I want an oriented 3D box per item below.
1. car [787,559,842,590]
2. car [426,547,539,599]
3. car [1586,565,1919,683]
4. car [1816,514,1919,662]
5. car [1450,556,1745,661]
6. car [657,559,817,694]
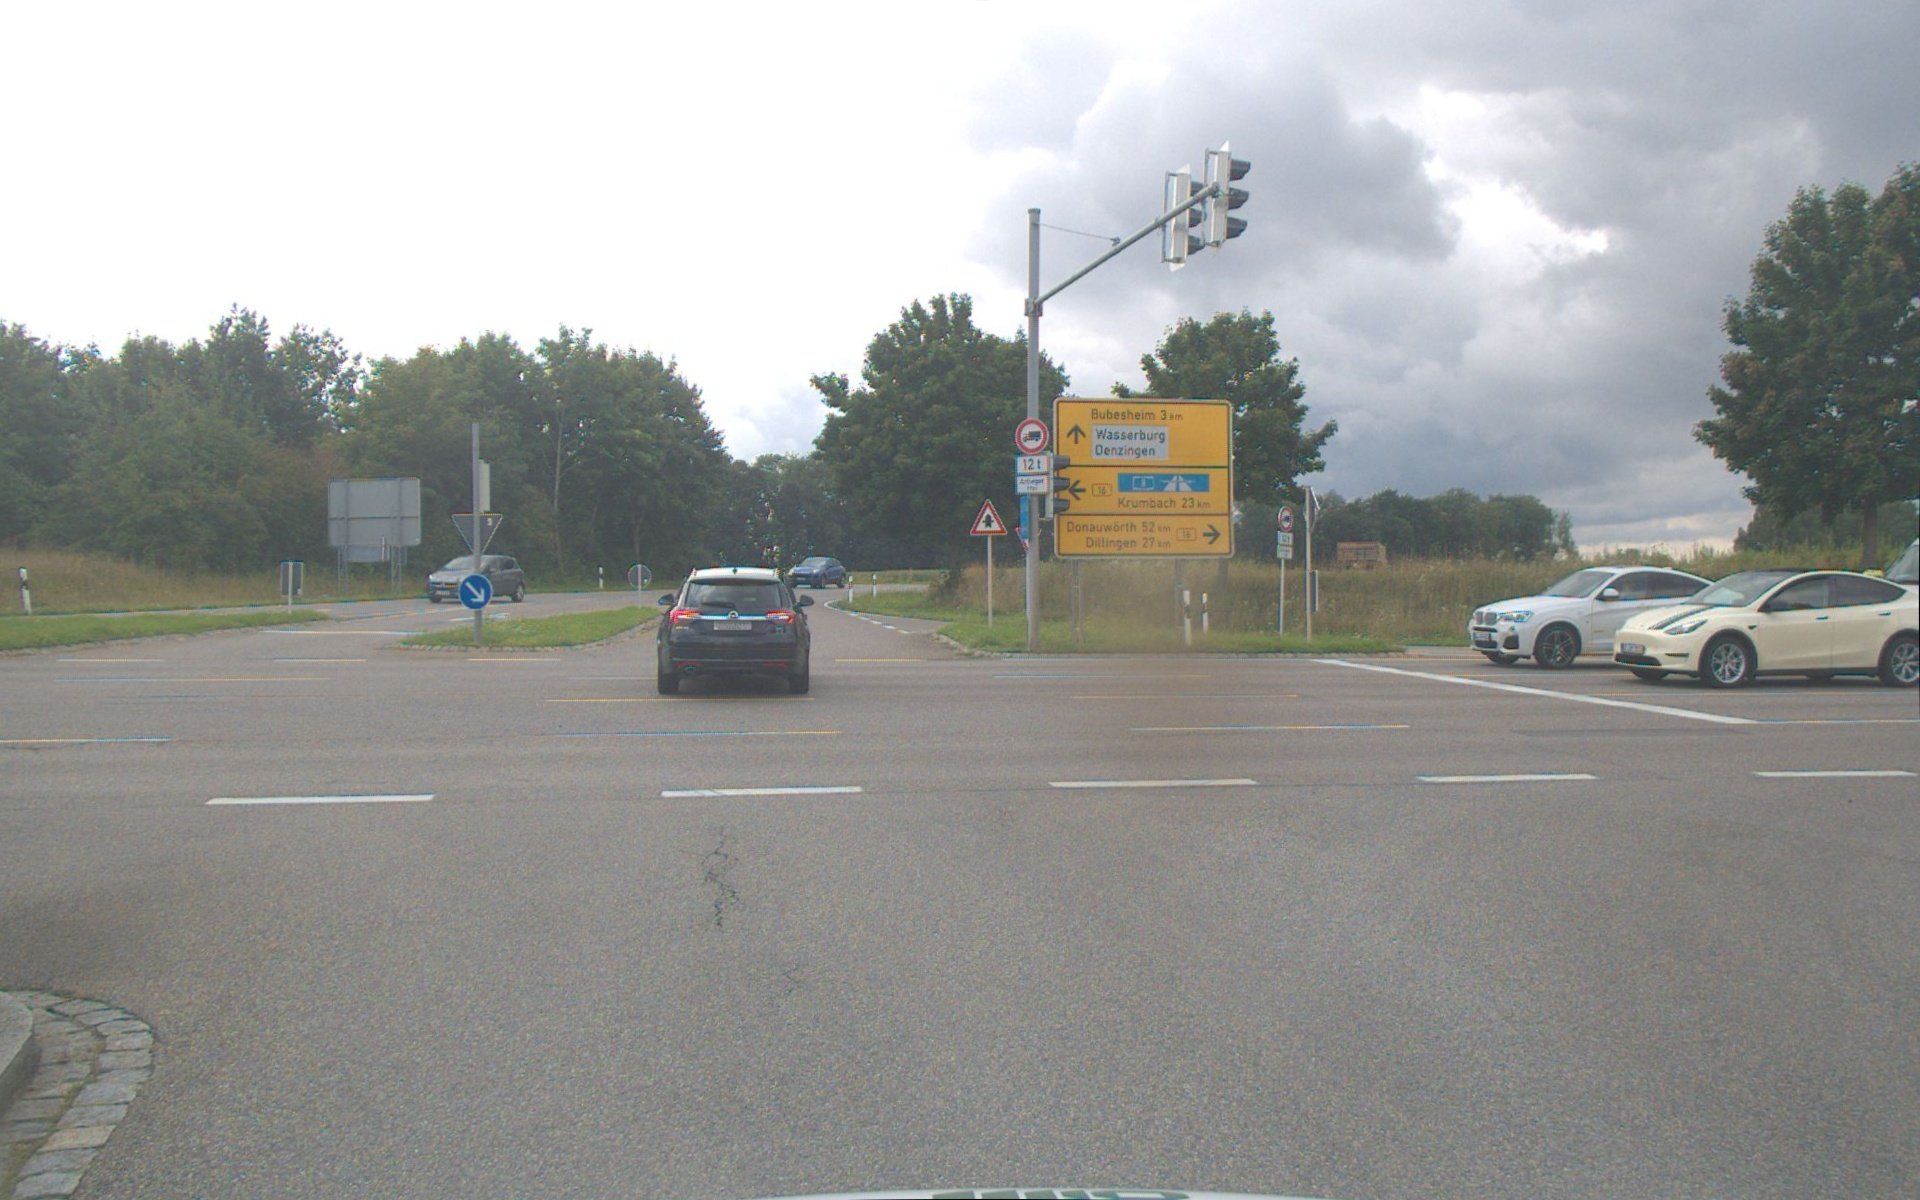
[{"bbox_3d":[-7.843,-1.371,89.527,1.951,1.598,4.760,1,1,7],"label":"car"},{"bbox_3d":[-14.845,-0.804,51.674,1.951,1.562,4.003,0,0,7],"label":"car"},{"bbox_3d":[11.640,0.331,23.725,4.649,1.592,1.994,0,0,-12],"label":"car"},{"bbox_3d":[18.467,-0.190,29.472,5.395,2.484,2.392,0,0,-11],"label":"car"},{"bbox_3d":[10.549,0.150,27.496,4.185,1.657,1.994,0,0,-12],"label":"car"},{"bbox_3d":[-2.739,0.249,20.630,1.773,1.476,4.267,0,2,-7],"label":"car"}]
